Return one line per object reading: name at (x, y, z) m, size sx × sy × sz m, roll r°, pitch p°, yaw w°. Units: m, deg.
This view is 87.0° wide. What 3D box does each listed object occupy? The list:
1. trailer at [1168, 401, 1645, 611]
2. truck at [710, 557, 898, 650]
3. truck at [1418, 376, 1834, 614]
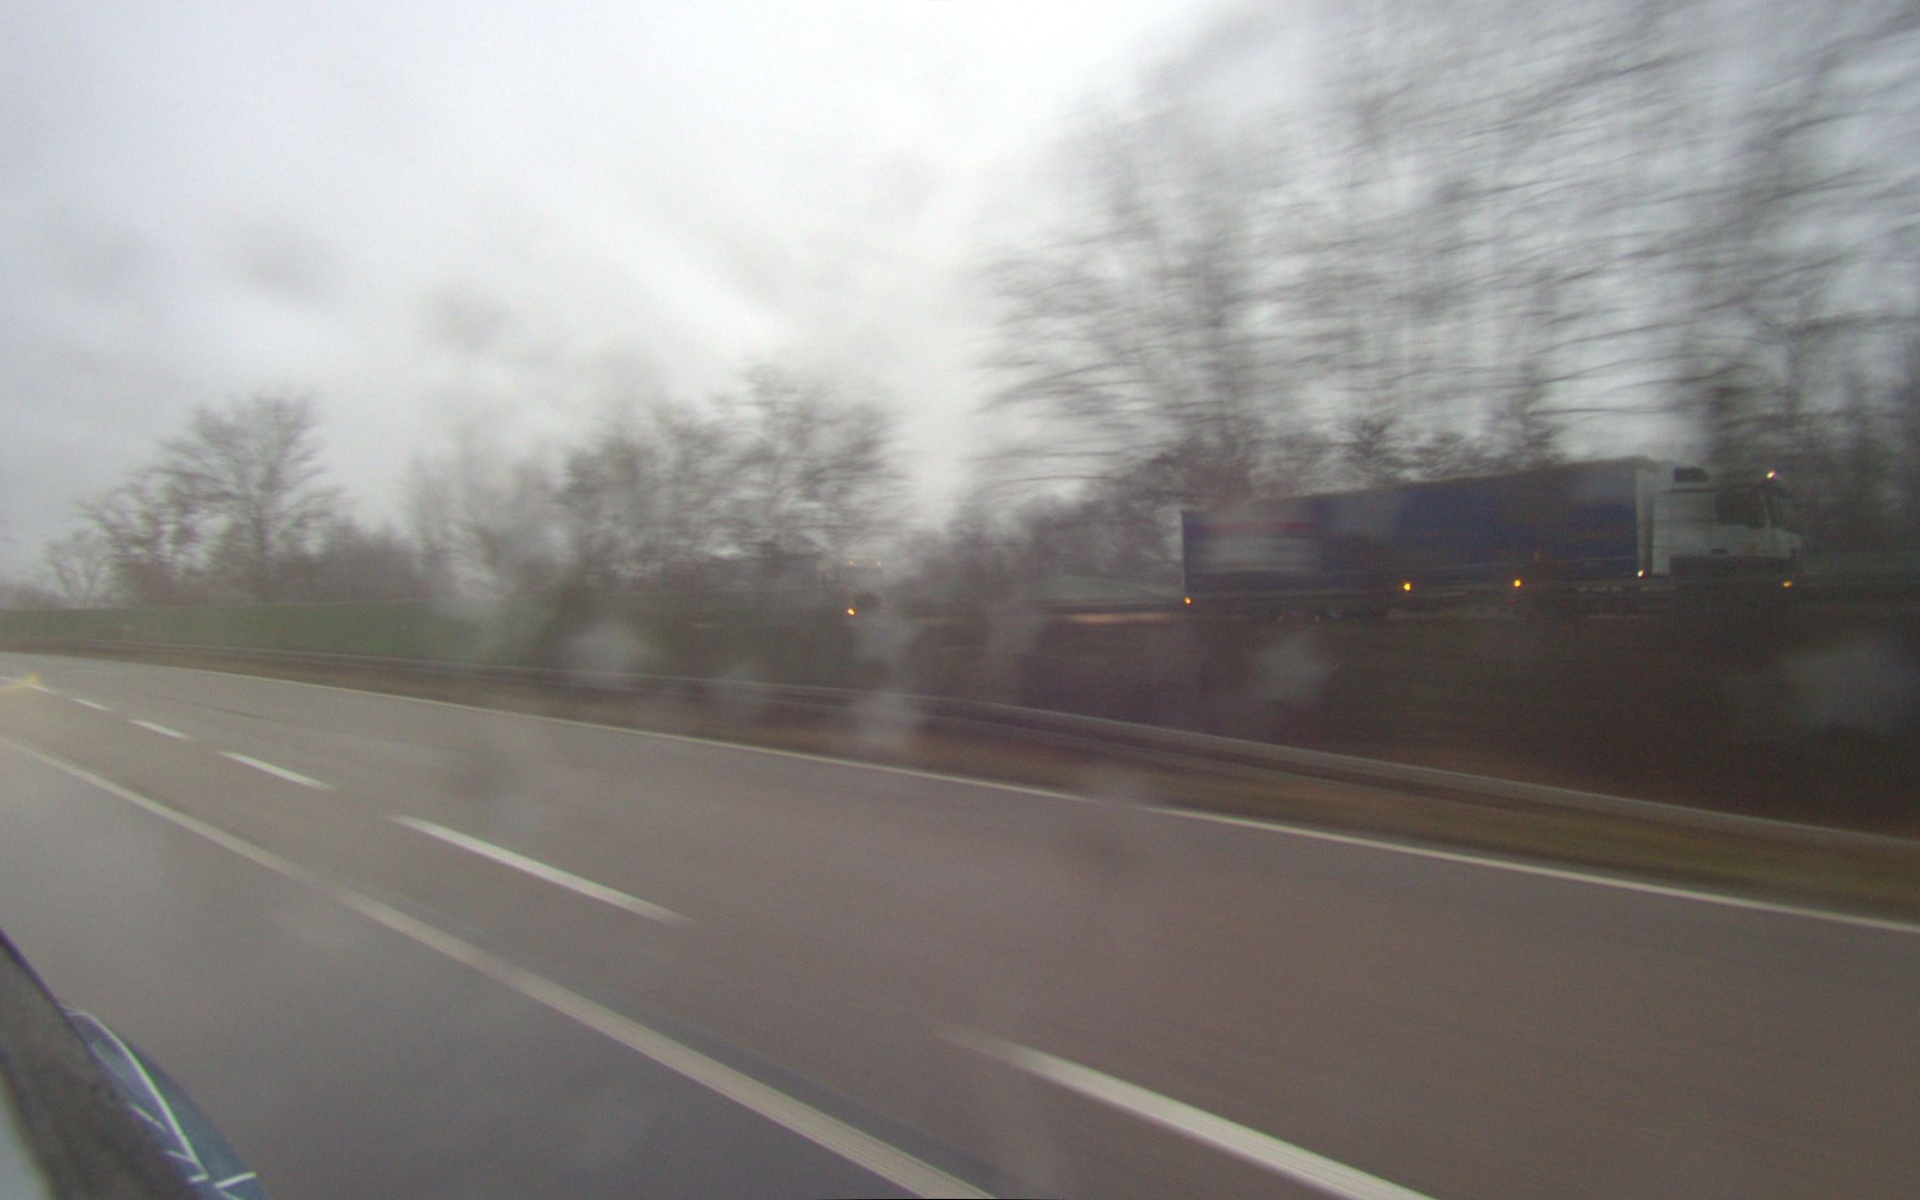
trailer at (12.807, -2.331, 31.092) m, size 3.261 × 5.142 × 13.249 m, roll 2°, pitch -1°, yaw -41°
truck at (-9.113, 0.161, 56.683) m, size 3.235 × 4.645 × 13.893 m, roll 2°, pitch -1°, yaw -42°
truck at (16.932, -2.294, 26.377) m, size 3.235 × 5.169 × 8.530 m, roll 2°, pitch -1°, yaw -42°
